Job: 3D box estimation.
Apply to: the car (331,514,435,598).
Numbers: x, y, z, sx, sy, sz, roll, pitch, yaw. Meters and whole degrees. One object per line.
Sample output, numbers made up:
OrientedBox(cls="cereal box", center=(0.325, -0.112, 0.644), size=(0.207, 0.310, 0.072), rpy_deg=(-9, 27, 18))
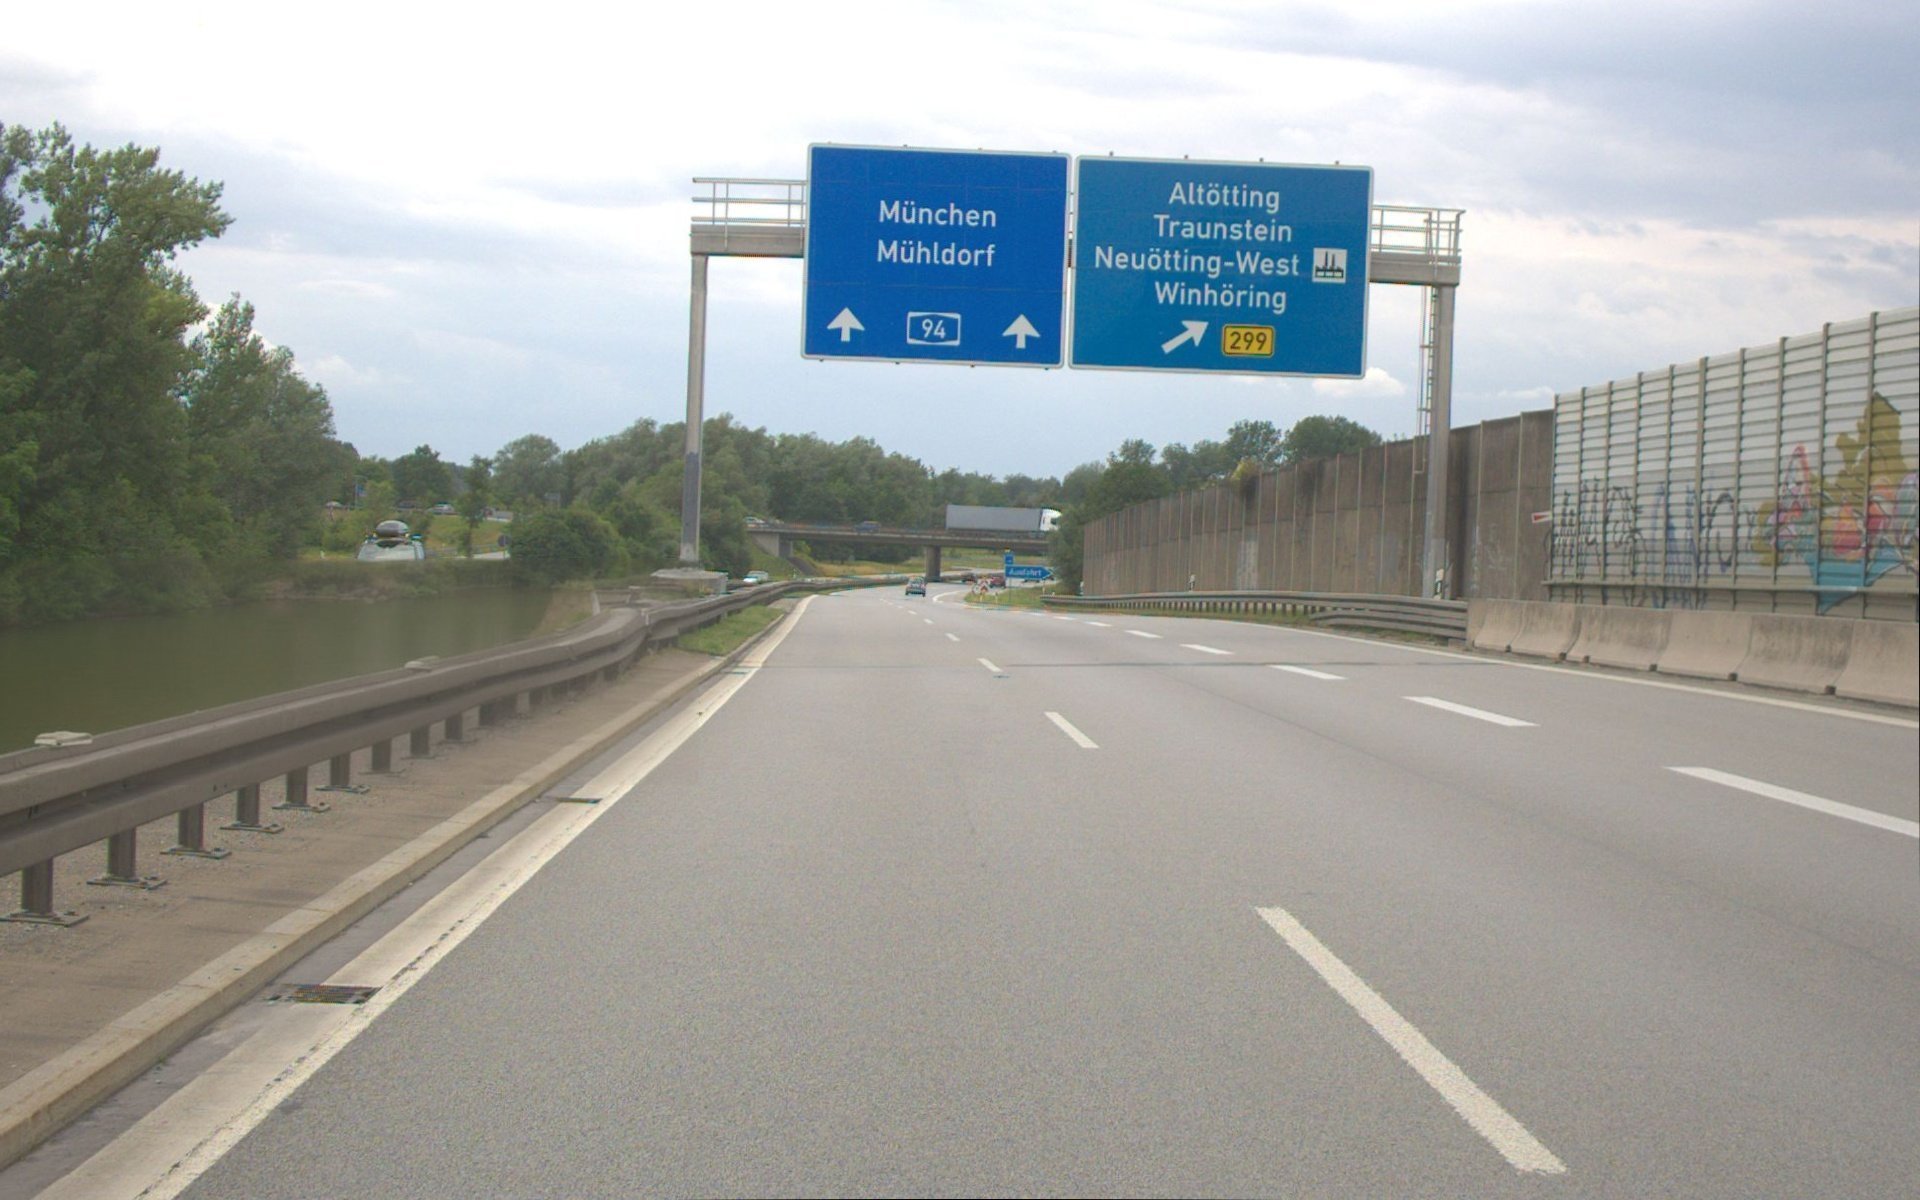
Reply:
OrientedBox(cls="car", center=(-14.415, -1.092, 86.131), size=(1.993, 1.995, 4.744), rpy_deg=(1, 0, -3))
